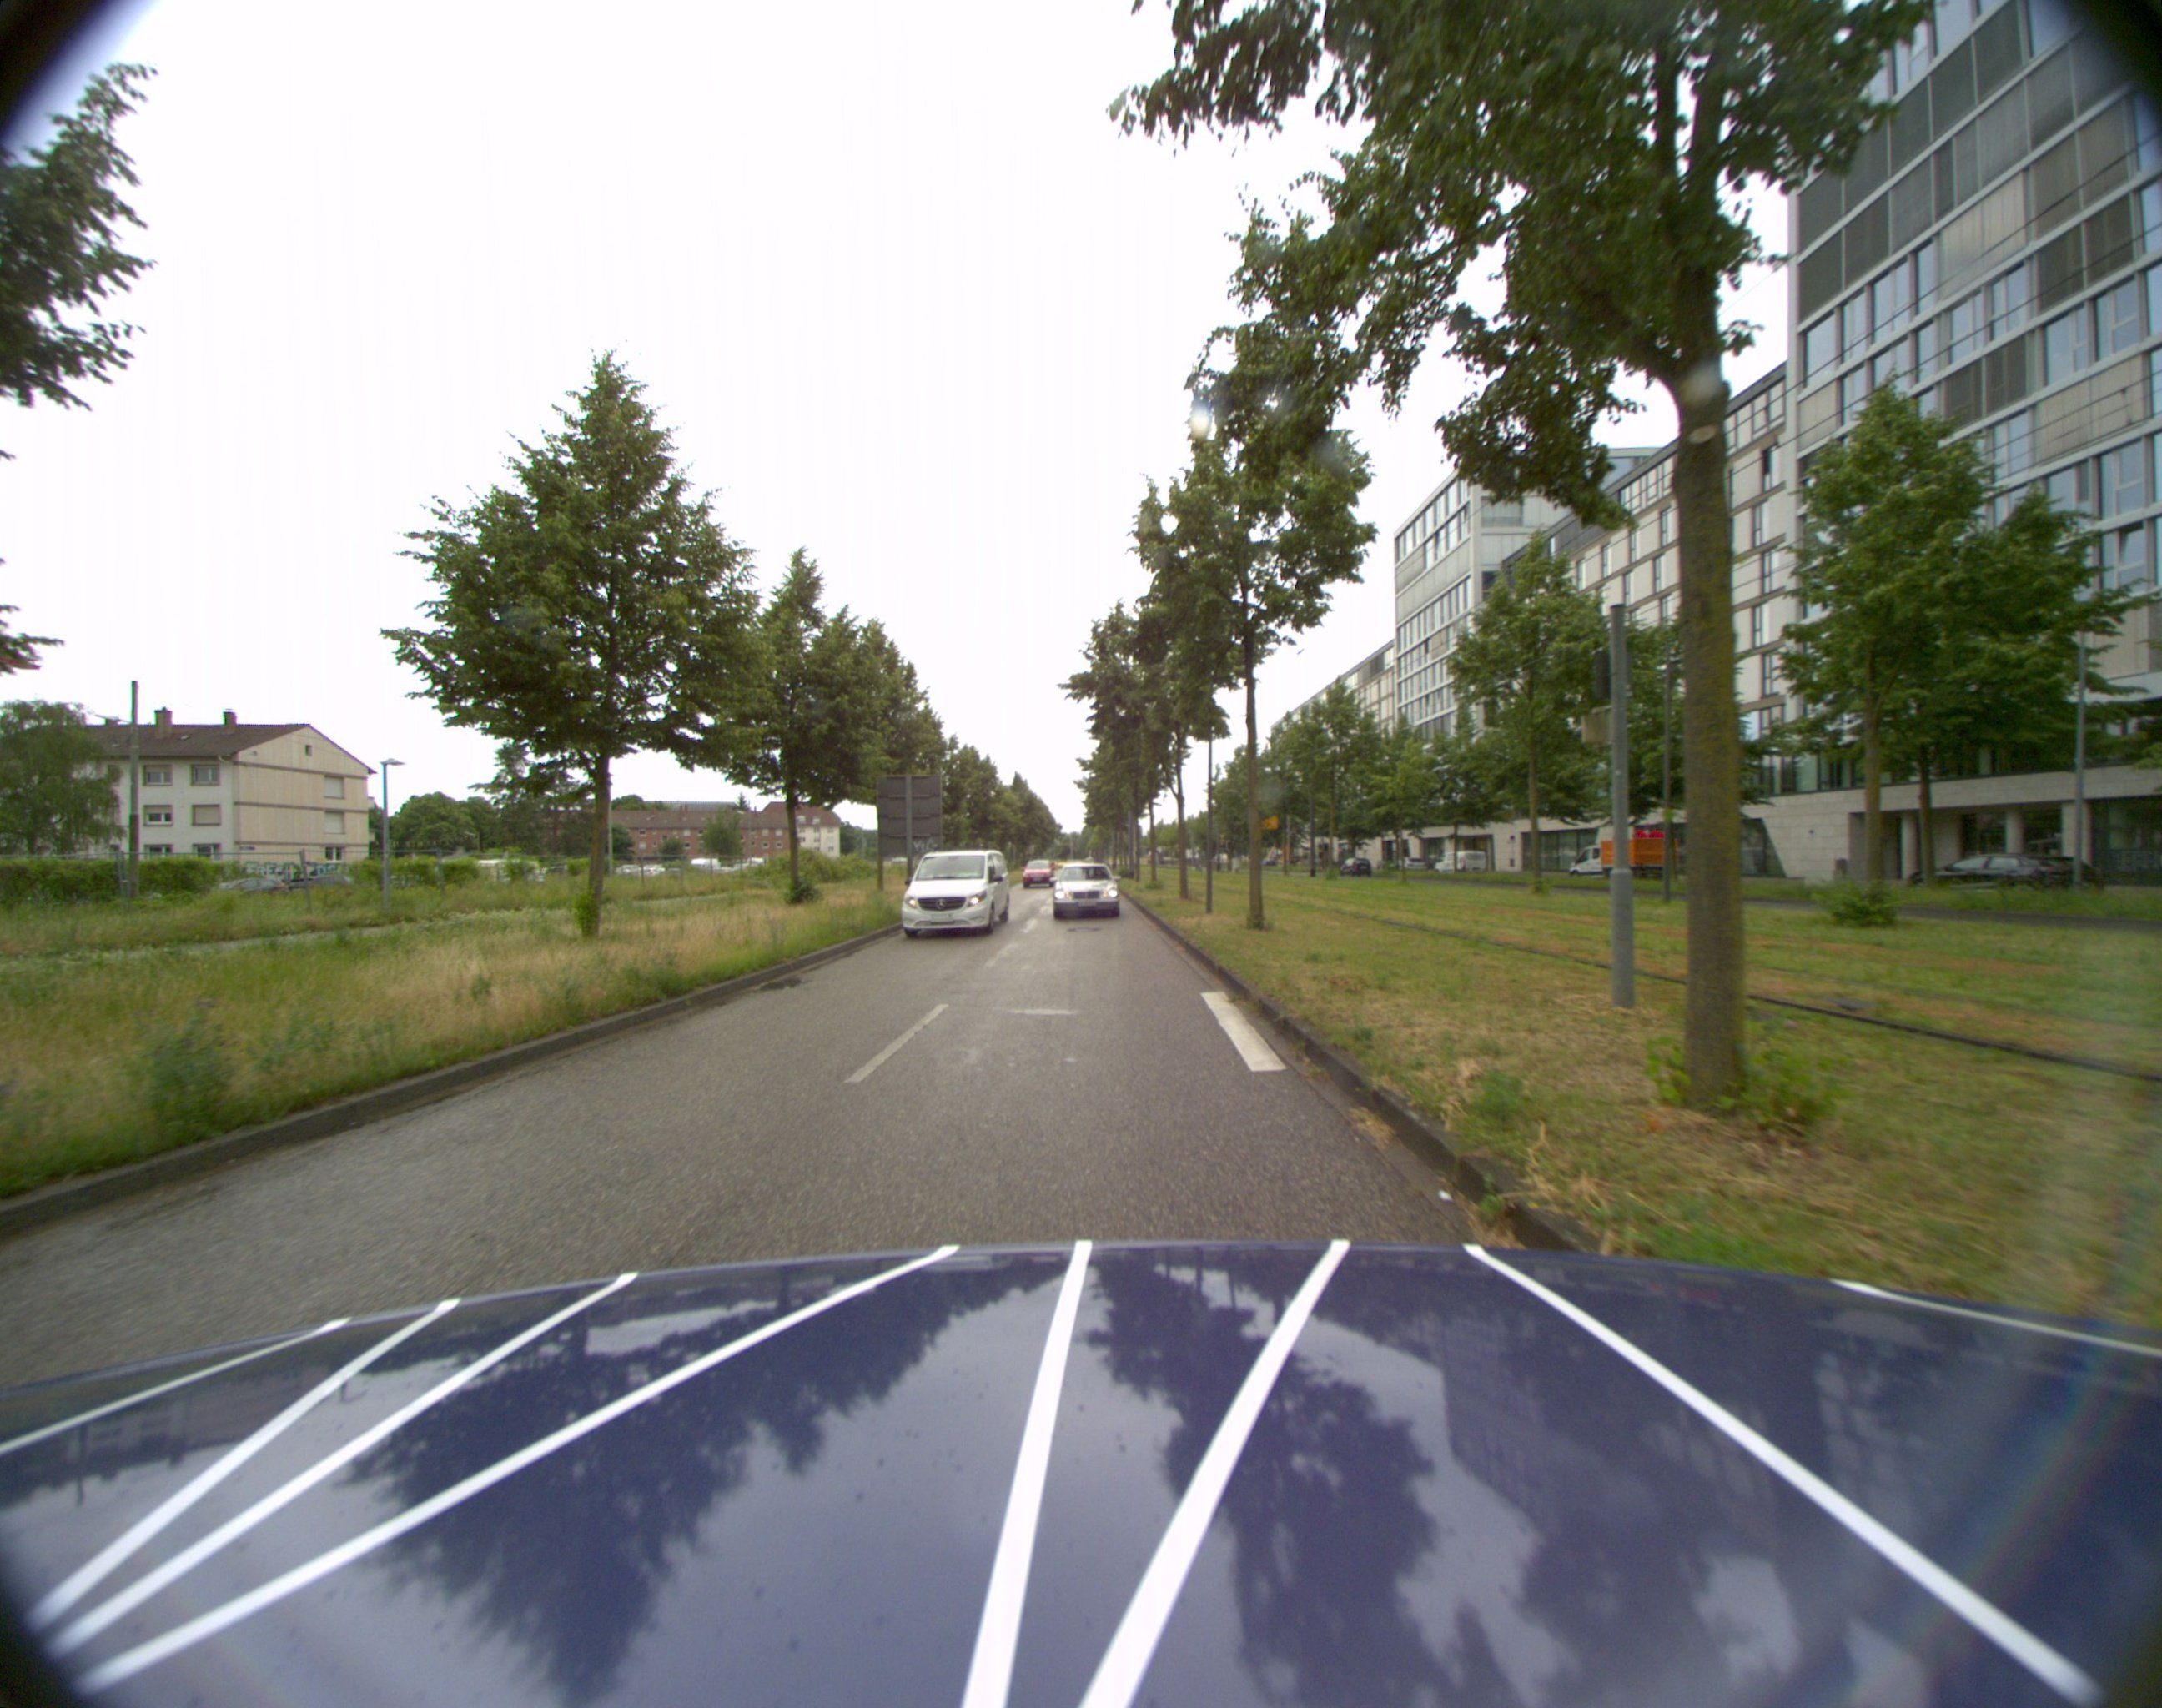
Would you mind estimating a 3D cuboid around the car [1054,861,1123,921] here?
[{"bbox_3d":[0.182,0.979,21.893,1.738,1.451,4.607,-2,0,0],"label":"car"}]

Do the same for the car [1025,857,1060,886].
[{"bbox_3d":[-2.296,1.044,46.417,1.799,1.602,4.246,-2,0,1],"label":"car"}]

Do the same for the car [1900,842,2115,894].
[{"bbox_3d":[28.639,0.403,23.719,1.859,1.456,3.988,-1,0,0],"label":"car"}]

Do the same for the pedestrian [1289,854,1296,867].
[{"bbox_3d":[29.199,0.911,104.720,0.712,1.681,0.793,-1,0,3],"label":"pedestrian"}]

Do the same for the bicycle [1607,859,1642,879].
[{"bbox_3d":[27.157,0.734,37.981,0.600,0.939,1.757,-1,0,4],"label":"bicycle"}]

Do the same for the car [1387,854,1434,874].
[{"bbox_3d":[28.993,0.860,67.003,2.150,1.702,4.463,-1,0,0],"label":"car"}]

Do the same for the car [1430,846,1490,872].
[{"bbox_3d":[29.062,0.379,58.506,1.999,1.841,5.164,-1,0,0],"label":"car"}]

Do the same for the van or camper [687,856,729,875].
[{"bbox_3d":[-51.844,1.533,105.693,2.784,2.521,6.418,-3,0,-2],"label":"van or camper"}]

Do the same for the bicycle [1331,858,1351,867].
[{"bbox_3d":[28.896,0.932,84.317,1.983,1.028,0.696,-1,0,2],"label":"bicycle"}]

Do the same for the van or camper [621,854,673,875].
[{"bbox_3d":[-51.923,1.175,91.036,2.509,2.294,6.646,-3,0,-2],"label":"van or camper"}]

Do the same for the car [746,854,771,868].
[{"bbox_3d":[-53.147,1.217,125.454,2.278,2.206,4.758,-1,0,-3],"label":"car"}]

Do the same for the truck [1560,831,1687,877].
[{"bbox_3d":[29.510,-0.007,41.701,2.432,2.278,6.309,-1,0,0],"label":"truck"}]

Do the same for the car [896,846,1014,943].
[{"bbox_3d":[-2.828,0.815,18.230,1.972,1.968,5.091,-1,0,0],"label":"car"}]

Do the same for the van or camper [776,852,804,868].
[{"bbox_3d":[-46.570,0.930,121.820,2.208,2.294,6.147,-3,0,-2],"label":"van or camper"}]

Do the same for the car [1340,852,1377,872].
[{"bbox_3d":[23.678,0.694,64.894,1.998,1.647,3.700,-1,0,4],"label":"car"}]

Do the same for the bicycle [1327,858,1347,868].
[{"bbox_3d":[29.346,1.026,87.139,1.983,1.028,0.696,-1,0,2],"label":"bicycle"}]

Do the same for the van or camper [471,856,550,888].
[{"bbox_3d":[-50.712,1.500,67.735,2.314,2.673,6.395,-1,0,-2],"label":"van or camper"}]

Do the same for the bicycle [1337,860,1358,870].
[{"bbox_3d":[28.892,1.197,82.457,1.983,1.028,0.696,-1,0,2],"label":"bicycle"}]
